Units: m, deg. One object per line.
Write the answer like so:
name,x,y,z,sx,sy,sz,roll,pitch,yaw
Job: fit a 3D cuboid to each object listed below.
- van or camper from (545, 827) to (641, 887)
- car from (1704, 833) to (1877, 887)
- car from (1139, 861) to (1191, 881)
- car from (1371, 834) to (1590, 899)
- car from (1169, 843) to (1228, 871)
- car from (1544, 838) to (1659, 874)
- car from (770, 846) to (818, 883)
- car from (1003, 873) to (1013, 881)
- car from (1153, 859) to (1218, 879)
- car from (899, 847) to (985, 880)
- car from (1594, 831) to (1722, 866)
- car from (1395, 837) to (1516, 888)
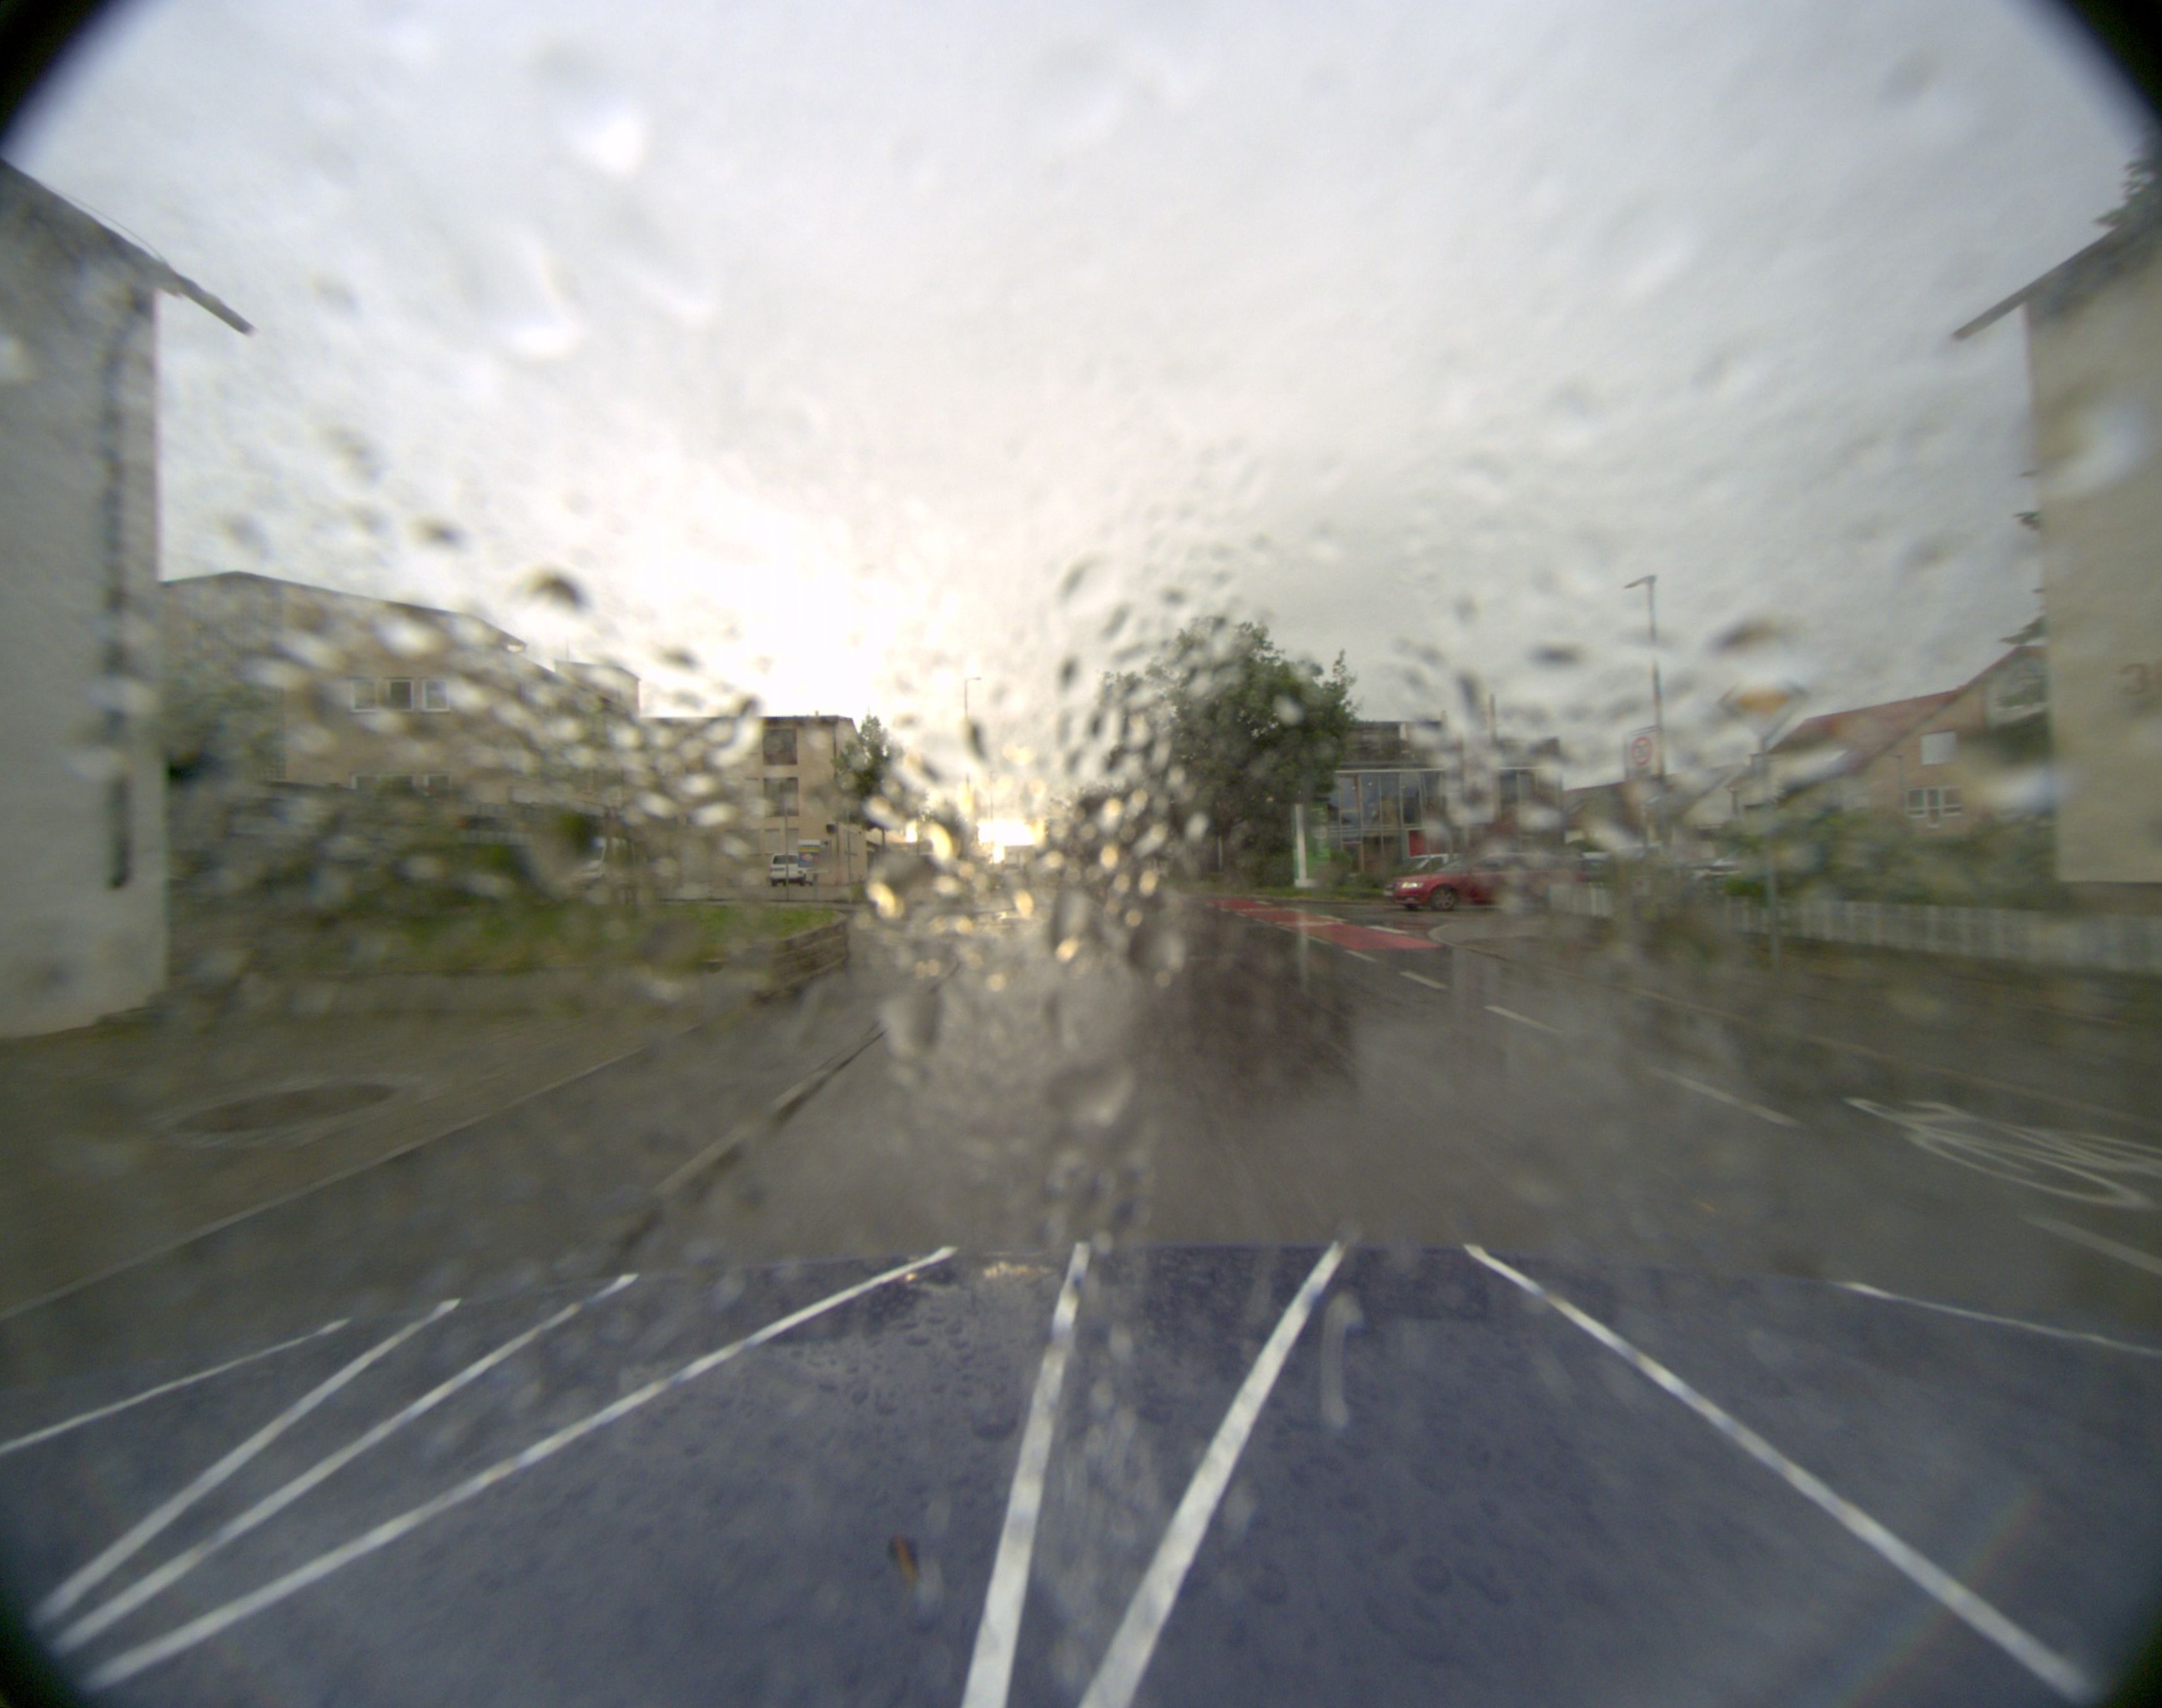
van or camper,-23.232,0.252,36.485,2.001,2.521,6.597,-3,-2,-16
car,27.832,0.264,29.910,5.075,1.758,1.880,-3,-2,-2
car,5.047,1.023,45.881,2.917,1.152,1.471,-1,-1,-6
car,10.067,0.298,19.360,4.656,1.558,1.874,0,0,-4
car,6.316,0.145,40.984,2.917,1.447,1.252,0,1,-6
car,26.387,0.107,38.617,4.563,1.780,2.045,0,0,-6
car,-17.543,0.688,46.625,1.800,2.001,4.599,-3,-2,-9
car,-15.809,4.976,164.847,1.856,1.545,4.501,-3,-2,-7
car,6.779,0.972,49.440,3.912,1.276,1.581,-1,-1,-6
car,-8.502,0.573,46.341,5.102,1.908,2.058,-1,0,31
car,26.714,-0.253,35.249,4.565,1.558,2.178,0,0,-9
car,16.835,0.411,34.285,4.412,2.001,2.152,-3,-2,-12
